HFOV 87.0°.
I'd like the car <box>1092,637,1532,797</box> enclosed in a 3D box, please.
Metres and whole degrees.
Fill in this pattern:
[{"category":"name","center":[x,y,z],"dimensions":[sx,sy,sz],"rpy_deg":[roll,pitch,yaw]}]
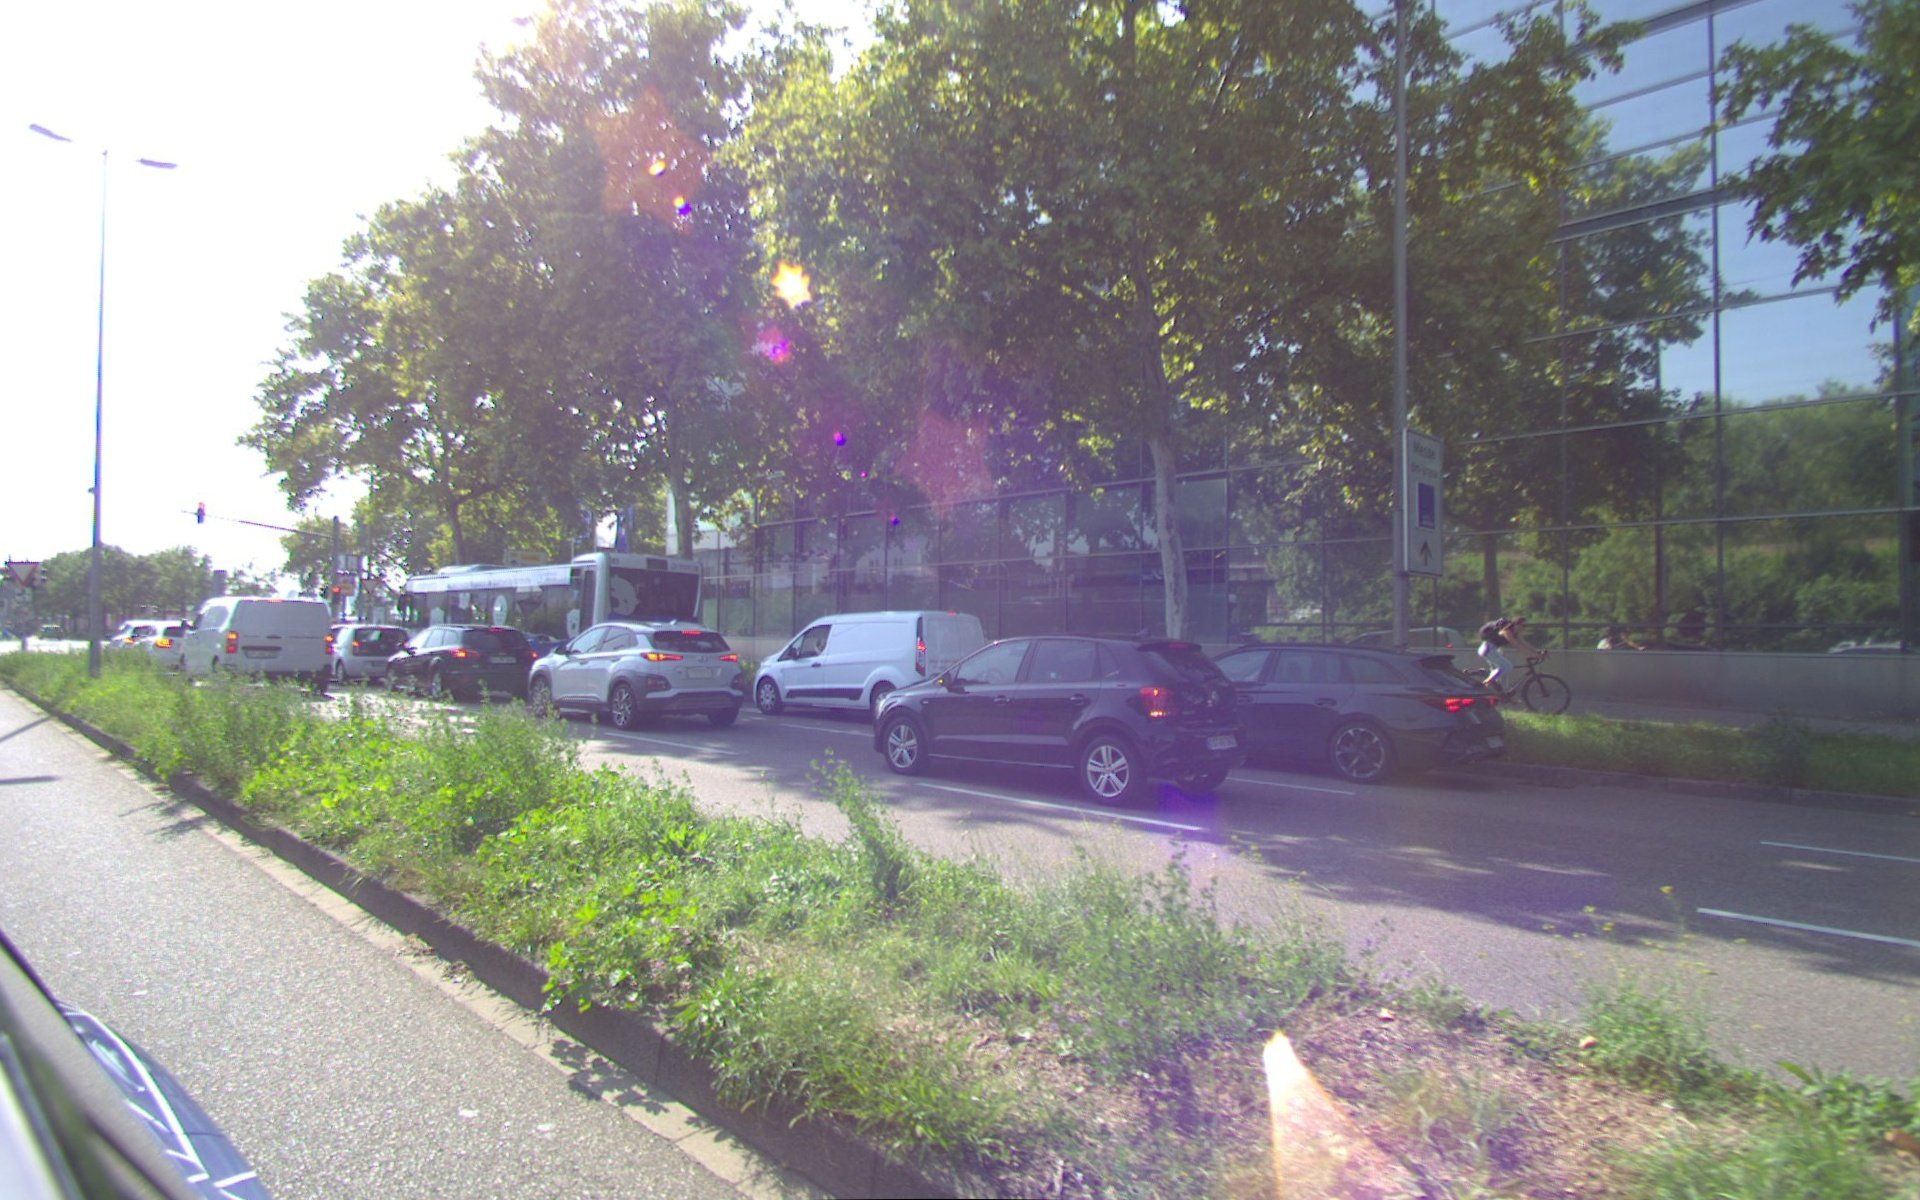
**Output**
[{"category":"car","center":[3.821,1.188,11.559],"dimensions":[4.480,1.421,1.629],"rpy_deg":[-1,-4,43]}]

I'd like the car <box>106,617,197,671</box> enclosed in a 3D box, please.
[{"category":"car","center":[-24.379,1.296,30.470],"dimensions":[4.001,1.507,1.625],"rpy_deg":[-1,-3,44]}]

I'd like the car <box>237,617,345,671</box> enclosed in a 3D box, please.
[{"category":"car","center":[-19.565,1.276,29.544],"dimensions":[4.000,1.453,1.687],"rpy_deg":[-1,-4,43]}]

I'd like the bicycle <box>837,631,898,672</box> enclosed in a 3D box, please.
[{"category":"bicycle","center":[-2.599,1.421,28.218],"dimensions":[1.800,1.116,0.641],"rpy_deg":[-1,-3,42]}]

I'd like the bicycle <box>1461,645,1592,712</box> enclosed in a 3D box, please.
[{"category":"bicycle","center":[9.383,1.280,16.819],"dimensions":[1.831,1.016,0.497],"rpy_deg":[-1,-2,43]}]

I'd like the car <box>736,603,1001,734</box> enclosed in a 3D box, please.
[{"category":"car","center":[-1.670,1.077,17.035],"dimensions":[4.749,1.902,1.685],"rpy_deg":[-1,-4,44]}]

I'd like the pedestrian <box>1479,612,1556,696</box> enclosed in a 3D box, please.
[{"category":"pedestrian","center":[9.308,0.890,16.902],"dimensions":[1.032,1.360,0.492],"rpy_deg":[-1,-2,43]}]

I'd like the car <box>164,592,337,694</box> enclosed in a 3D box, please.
[{"category":"car","center":[-14.790,0.907,20.984],"dimensions":[4.889,1.878,1.890],"rpy_deg":[-2,-4,43]}]

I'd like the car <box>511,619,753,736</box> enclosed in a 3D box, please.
[{"category":"car","center":[-5.095,1.099,15.444],"dimensions":[4.140,1.540,1.676],"rpy_deg":[-1,-4,43]}]

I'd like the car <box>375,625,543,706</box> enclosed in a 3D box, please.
[{"category":"car","center":[-10.127,1.268,20.310],"dimensions":[4.190,1.444,1.629],"rpy_deg":[-1,-4,44]}]

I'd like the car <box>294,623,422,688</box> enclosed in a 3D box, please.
[{"category":"car","center":[-15.097,1.361,25.309],"dimensions":[3.821,1.478,1.687],"rpy_deg":[-1,-4,43]}]

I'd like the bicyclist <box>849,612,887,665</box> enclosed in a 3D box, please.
[{"category":"bicyclist","center":[-2.568,1.082,28.225],"dimensions":[0.840,1.450,0.641],"rpy_deg":[-1,-3,42]}]

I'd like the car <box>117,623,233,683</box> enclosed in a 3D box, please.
[{"category":"car","center":[-20.298,1.361,26.102],"dimensions":[4.083,1.413,1.690],"rpy_deg":[-2,-5,43]}]

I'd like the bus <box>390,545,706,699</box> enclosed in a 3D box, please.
[{"category":"bus","center":[-10.917,0.543,25.549],"dimensions":[12.314,3.103,2.561],"rpy_deg":[-1,-2,44]}]

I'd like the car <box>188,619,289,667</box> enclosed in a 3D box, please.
[{"category":"car","center":[-24.032,1.397,33.661],"dimensions":[4.263,1.515,1.834],"rpy_deg":[-1,-2,42]}]

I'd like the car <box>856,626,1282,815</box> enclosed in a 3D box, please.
[{"category":"car","center":[0.885,1.002,9.647],"dimensions":[3.859,1.409,1.596],"rpy_deg":[-1,-4,44]}]
